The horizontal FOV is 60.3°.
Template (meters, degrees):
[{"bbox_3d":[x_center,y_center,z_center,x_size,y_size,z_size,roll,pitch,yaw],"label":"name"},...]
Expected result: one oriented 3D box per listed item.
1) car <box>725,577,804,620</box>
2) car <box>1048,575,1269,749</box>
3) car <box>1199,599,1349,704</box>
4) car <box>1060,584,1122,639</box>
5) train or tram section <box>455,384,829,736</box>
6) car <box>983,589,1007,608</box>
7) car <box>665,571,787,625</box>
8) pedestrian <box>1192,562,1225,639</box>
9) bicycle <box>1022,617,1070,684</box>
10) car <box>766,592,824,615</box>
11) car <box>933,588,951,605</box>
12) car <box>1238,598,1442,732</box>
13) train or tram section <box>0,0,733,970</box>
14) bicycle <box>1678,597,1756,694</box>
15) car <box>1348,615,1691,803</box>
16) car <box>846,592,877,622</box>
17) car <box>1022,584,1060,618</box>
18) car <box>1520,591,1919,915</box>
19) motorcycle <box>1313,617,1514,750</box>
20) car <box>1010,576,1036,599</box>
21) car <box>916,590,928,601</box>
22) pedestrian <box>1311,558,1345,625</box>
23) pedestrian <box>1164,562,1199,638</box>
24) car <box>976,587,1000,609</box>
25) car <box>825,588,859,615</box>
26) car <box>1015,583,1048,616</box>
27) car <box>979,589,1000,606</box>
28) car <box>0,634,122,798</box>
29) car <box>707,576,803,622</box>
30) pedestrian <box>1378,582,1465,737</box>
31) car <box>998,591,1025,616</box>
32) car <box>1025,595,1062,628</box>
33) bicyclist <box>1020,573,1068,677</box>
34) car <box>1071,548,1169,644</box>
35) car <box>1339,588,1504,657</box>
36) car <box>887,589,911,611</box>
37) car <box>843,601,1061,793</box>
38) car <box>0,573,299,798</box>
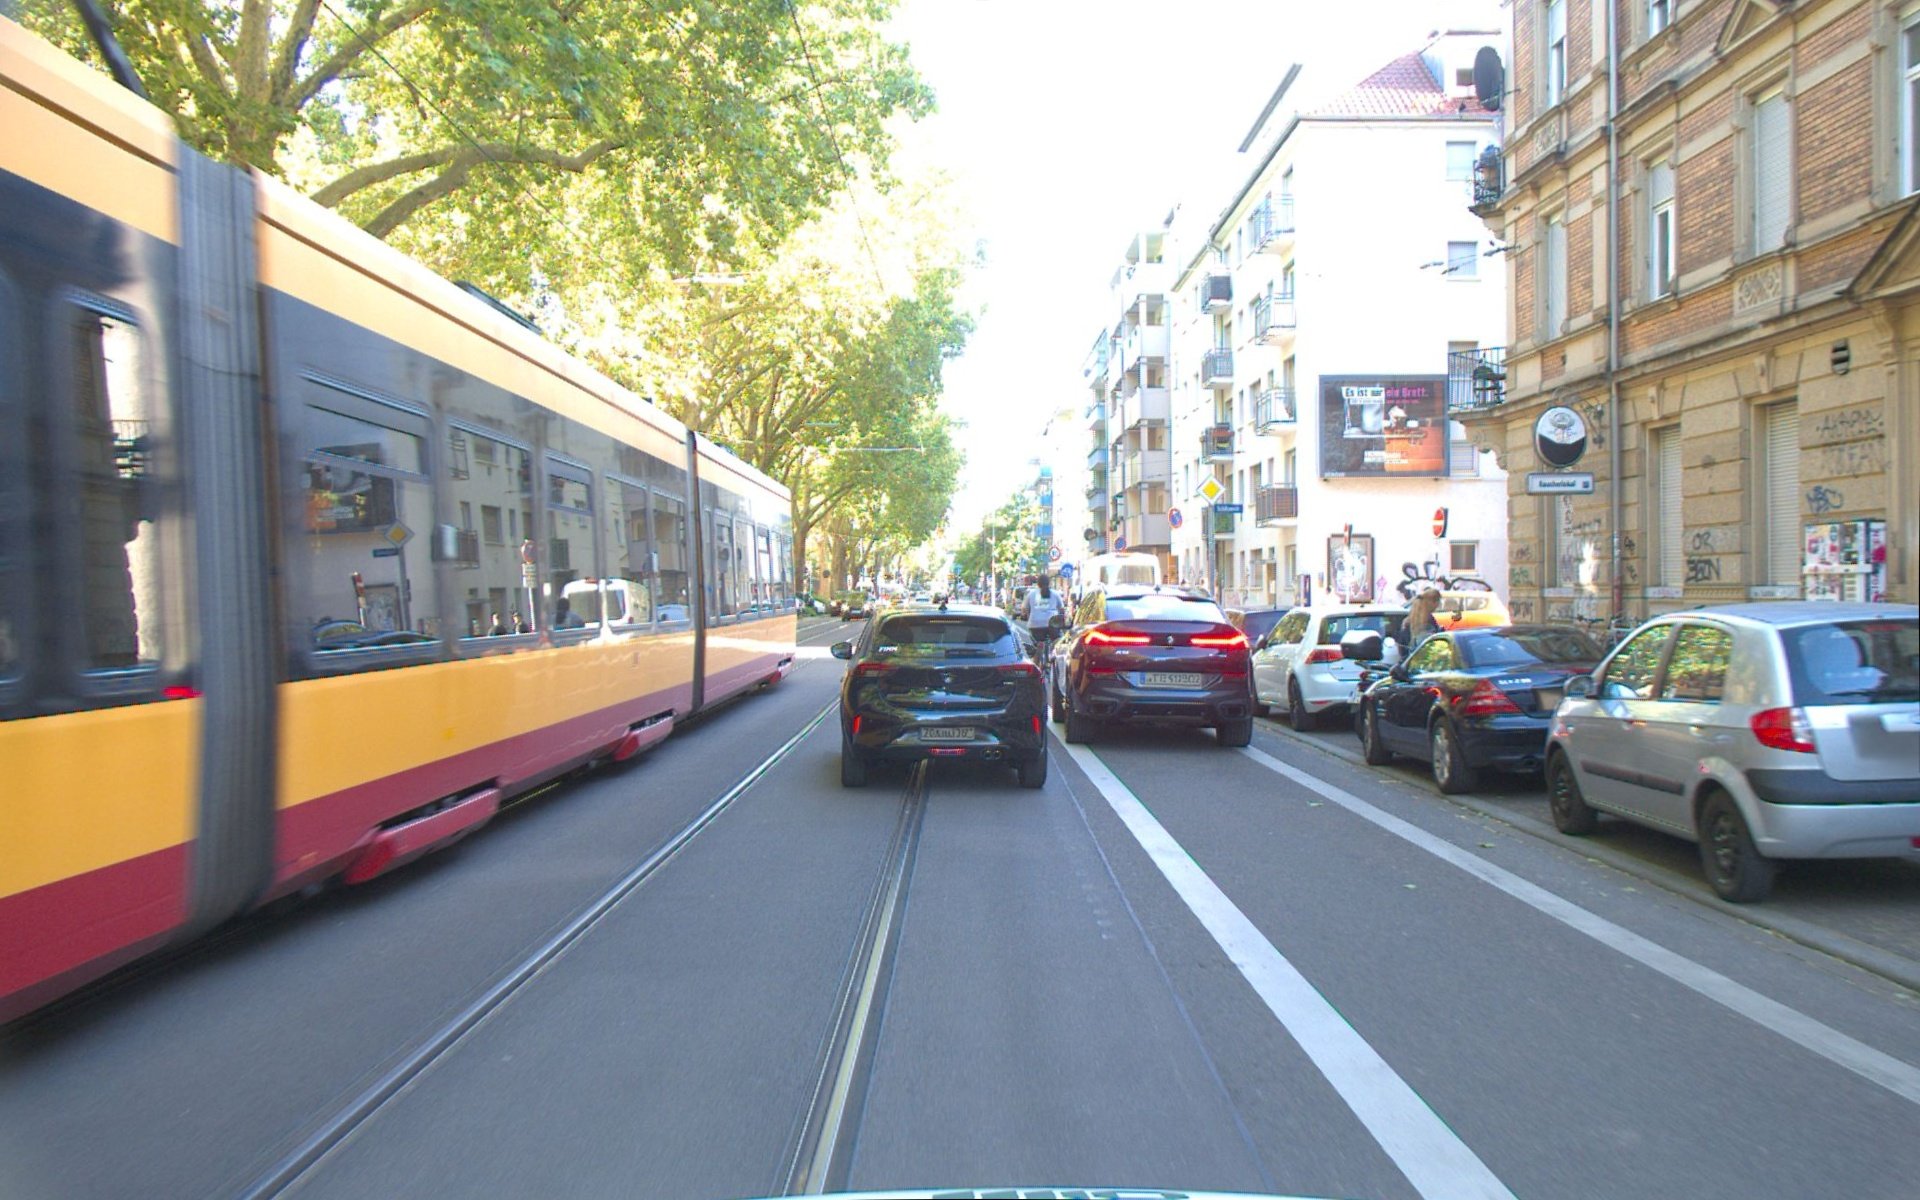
[{"bbox_3d":[-12.325,-0.099,104.479,4.846,2.612,2.081,-1,0,-4],"label":"car"},{"bbox_3d":[2.107,0.621,18.848,1.904,1.734,4.629,0,0,-1],"label":"car"},{"bbox_3d":[4.890,0.755,26.259,1.615,1.445,4.060,-3,0,1],"label":"car"},{"bbox_3d":[4.546,0.385,57.786,1.820,1.852,4.351,-1,0,0],"label":"car"},{"bbox_3d":[-3.811,-0.404,23.077,2.876,3.682,11.063,1,0,1],"label":"train or tram section"},{"bbox_3d":[3.064,-0.148,146.296,1.684,1.601,4.081,-1,0,-4],"label":"car"},{"bbox_3d":[-11.432,-0.100,81.138,5.623,2.580,2.162,0,1,0],"label":"car"},{"bbox_3d":[6.173,0.015,41.161,0.612,1.854,1.082,-2,-1,1],"label":"pedestrian"},{"bbox_3d":[1.494,0.871,29.004,0.687,1.111,1.990,1,0,-1],"label":"bicycle"},{"bbox_3d":[-11.505,0.260,115.651,3.906,1.548,1.770,-1,0,-2],"label":"car"},{"bbox_3d":[-1.884,-0.397,171.018,1.714,1.680,4.001,-1,0,1],"label":"car"},{"bbox_3d":[4.669,0.741,20.839,1.569,1.445,4.013,-3,0,0],"label":"car"},{"bbox_3d":[-3.953,-0.445,11.885,2.876,3.682,11.259,1,0,1],"label":"train or tram section"},{"bbox_3d":[9.625,0.560,21.060,0.370,1.174,1.373,-1,0,1],"label":"bicycle"},{"bbox_3d":[4.663,0.838,14.343,1.615,1.294,3.724,-3,0,-1],"label":"car"},{"bbox_3d":[-5.226,0.366,87.967,1.602,1.536,3.690,0,0,-2],"label":"car"},{"bbox_3d":[4.350,0.043,89.401,1.731,1.734,4.282,-1,0,-1],"label":"car"},{"bbox_3d":[4.740,0.728,9.806,1.573,1.477,3.741,-3,0,1],"label":"car"},{"bbox_3d":[4.810,0.857,17.527,2.104,1.311,0.638,-1,0,-23],"label":"motorcycle"},{"bbox_3d":[4.665,-0.943,122.710,1.820,1.680,4.001,-1,0,1],"label":"car"},{"bbox_3d":[-5.305,-0.655,229.959,1.645,1.447,3.627,1,0,-1],"label":"car"},{"bbox_3d":[8.968,-0.197,40.285,0.619,1.608,0.933,1,0,1],"label":"pedestrian"},{"bbox_3d":[5.508,0.008,41.174,0.695,1.854,1.082,-2,-1,1],"label":"pedestrian"},{"bbox_3d":[2.161,-0.176,127.281,1.820,1.680,4.001,-1,0,1],"label":"car"},{"bbox_3d":[-8.050,0.106,113.332,1.953,1.729,4.484,-3,0,-1],"label":"car"},{"bbox_3d":[4.245,-0.047,98.245,1.820,1.923,4.925,-1,0,1],"label":"car"},{"bbox_3d":[2.726,-0.268,153.428,1.683,1.516,3.680,-1,0,-2],"label":"car"},{"bbox_3d":[-11.040,1.108,16.785,4.061,1.524,1.904,1,0,-2],"label":"car"},{"bbox_3d":[-11.787,-0.081,95.435,5.250,2.521,2.057,-1,0,0],"label":"car"},{"bbox_3d":[5.136,0.645,18.443,0.748,1.686,0.717,-1,0,0],"label":"pedestrian"},{"bbox_3d":[3.592,0.209,115.394,1.820,1.680,4.001,-1,0,1],"label":"car"},{"bbox_3d":[4.173,0.537,82.804,1.689,1.552,4.513,-1,0,1],"label":"car"},{"bbox_3d":[1.464,0.431,28.928,0.770,1.790,0.914,-1,0,-1],"label":"bicyclist"},{"bbox_3d":[4.514,-0.112,47.618,2.105,2.539,6.087,-1,0,-1],"label":"car"},{"bbox_3d":[11.159,0.529,40.188,3.573,1.601,1.791,-1,0,5],"label":"car"},{"bbox_3d":[-4.376,-0.002,118.119,1.683,1.536,3.721,-1,0,-2],"label":"car"},{"bbox_3d":[-0.086,0.742,14.438,1.645,1.447,3.627,1,0,-1],"label":"car"},{"bbox_3d":[-11.415,0.911,19.417,6.467,2.449,2.000,1,1,0],"label":"car"}]
